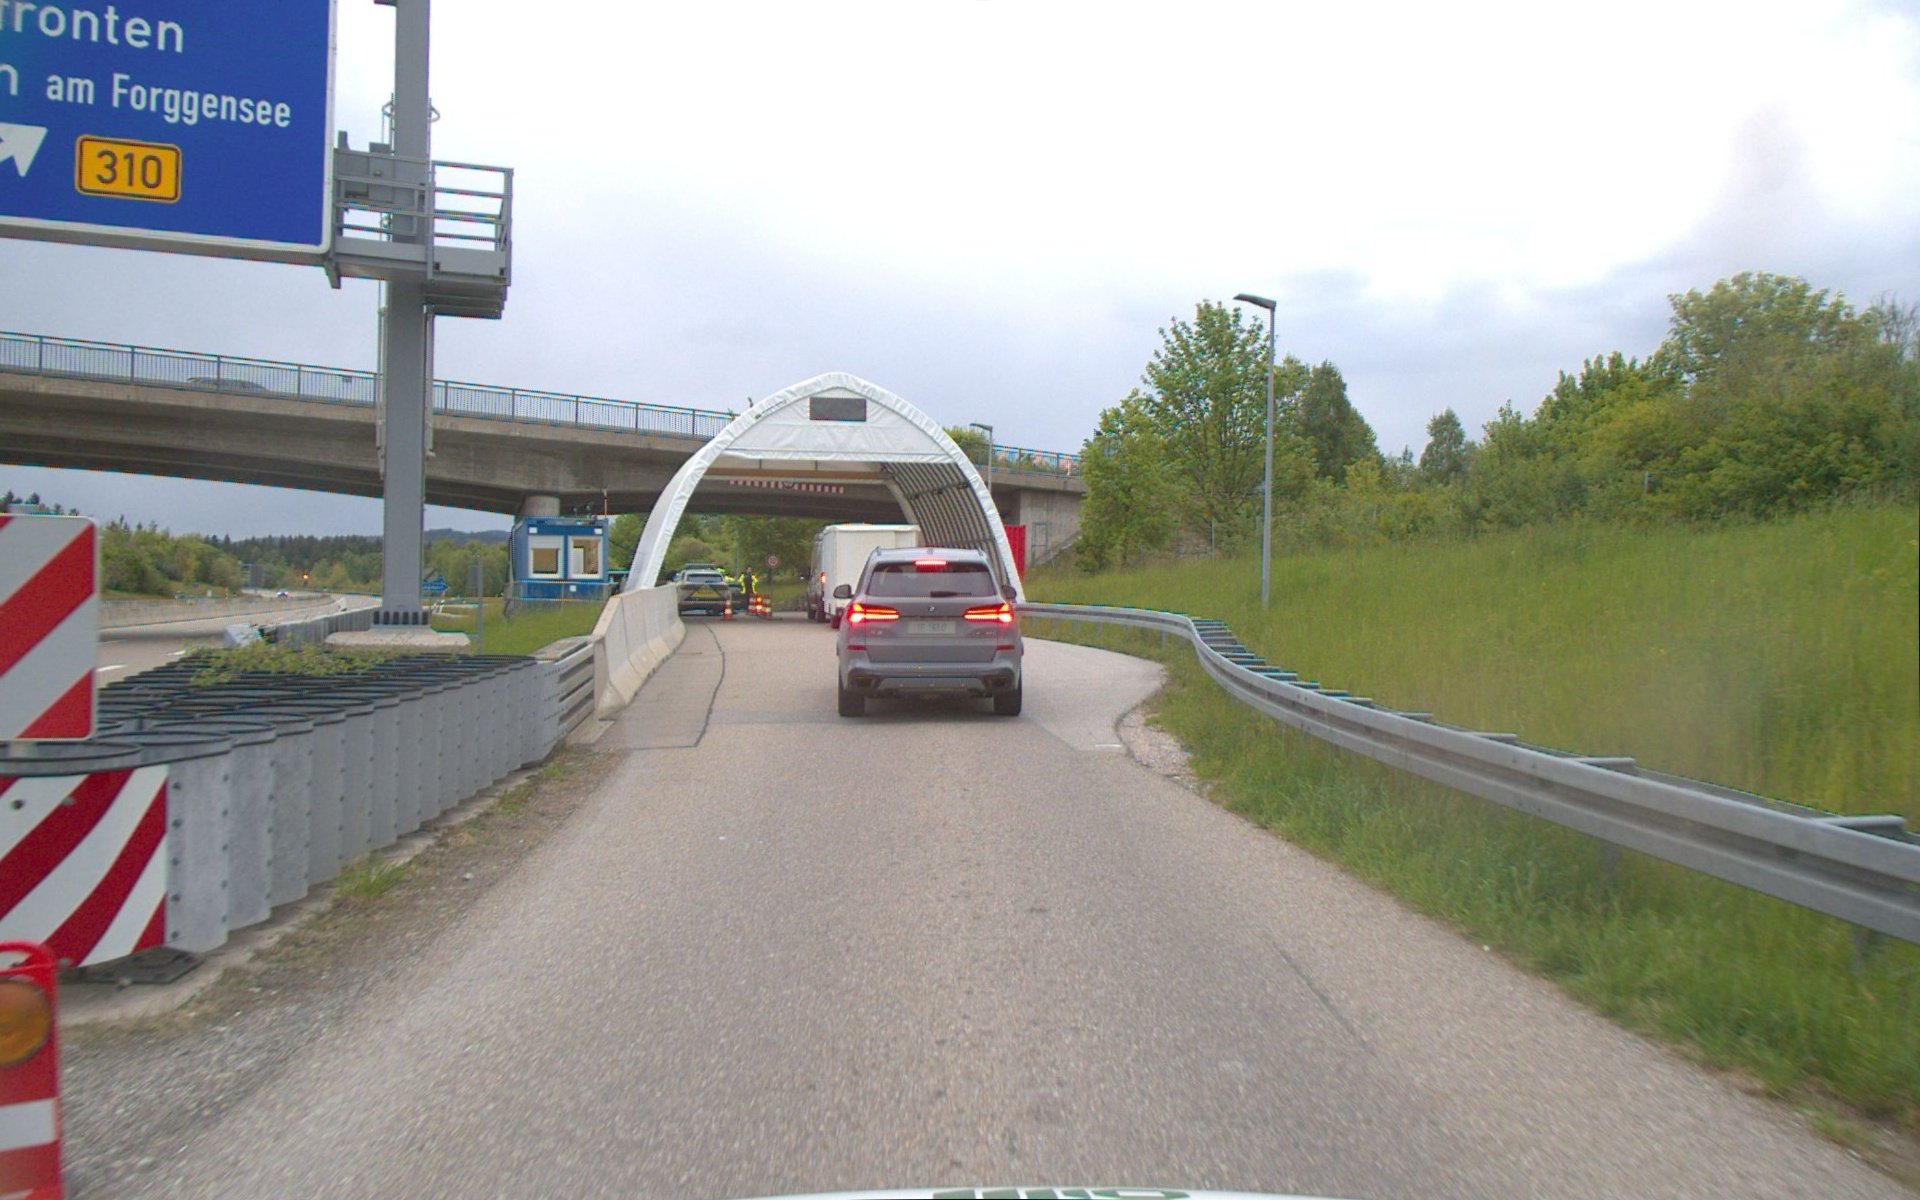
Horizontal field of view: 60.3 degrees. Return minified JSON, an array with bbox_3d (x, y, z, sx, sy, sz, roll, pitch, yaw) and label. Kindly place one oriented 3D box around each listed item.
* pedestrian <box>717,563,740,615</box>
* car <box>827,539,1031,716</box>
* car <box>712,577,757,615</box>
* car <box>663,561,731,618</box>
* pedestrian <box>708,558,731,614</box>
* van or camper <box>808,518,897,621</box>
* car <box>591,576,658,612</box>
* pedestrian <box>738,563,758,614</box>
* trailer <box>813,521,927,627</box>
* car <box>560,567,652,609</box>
[{"bbox_3d":[-8.135,-0.398,58.088,0.708,1.806,0.688,-1,0,-13],"label":"pedestrian"},{"bbox_3d":[-0.226,0.265,18.484,1.952,1.749,4.002,0,0,4],"label":"car"},{"bbox_3d":[-11.925,-0.226,87.375,1.677,1.886,3.980,-1,1,-18],"label":"car"},{"bbox_3d":[-8.837,-0.352,55.373,1.959,1.803,3.753,-1,1,-13],"label":"car"},{"bbox_3d":[-8.572,-0.493,58.936,0.708,1.979,0.688,-1,0,-13],"label":"pedestrian"},{"bbox_3d":[-3.225,-0.841,48.489,2.117,2.812,5.859,-1,0,-9],"label":"van or camper"},{"bbox_3d":[-14.367,-0.253,70.776,1.504,1.467,3.270,-1,1,-38],"label":"car"},{"bbox_3d":[-7.611,-0.429,59.347,0.637,1.806,0.603,-1,0,-15],"label":"pedestrian"},{"bbox_3d":[-2.408,-0.612,42.229,2.237,2.473,6.803,-1,0,-9],"label":"trailer"},{"bbox_3d":[-16.607,-0.555,77.742,3.904,1.886,1.710,-1,1,2],"label":"car"}]
